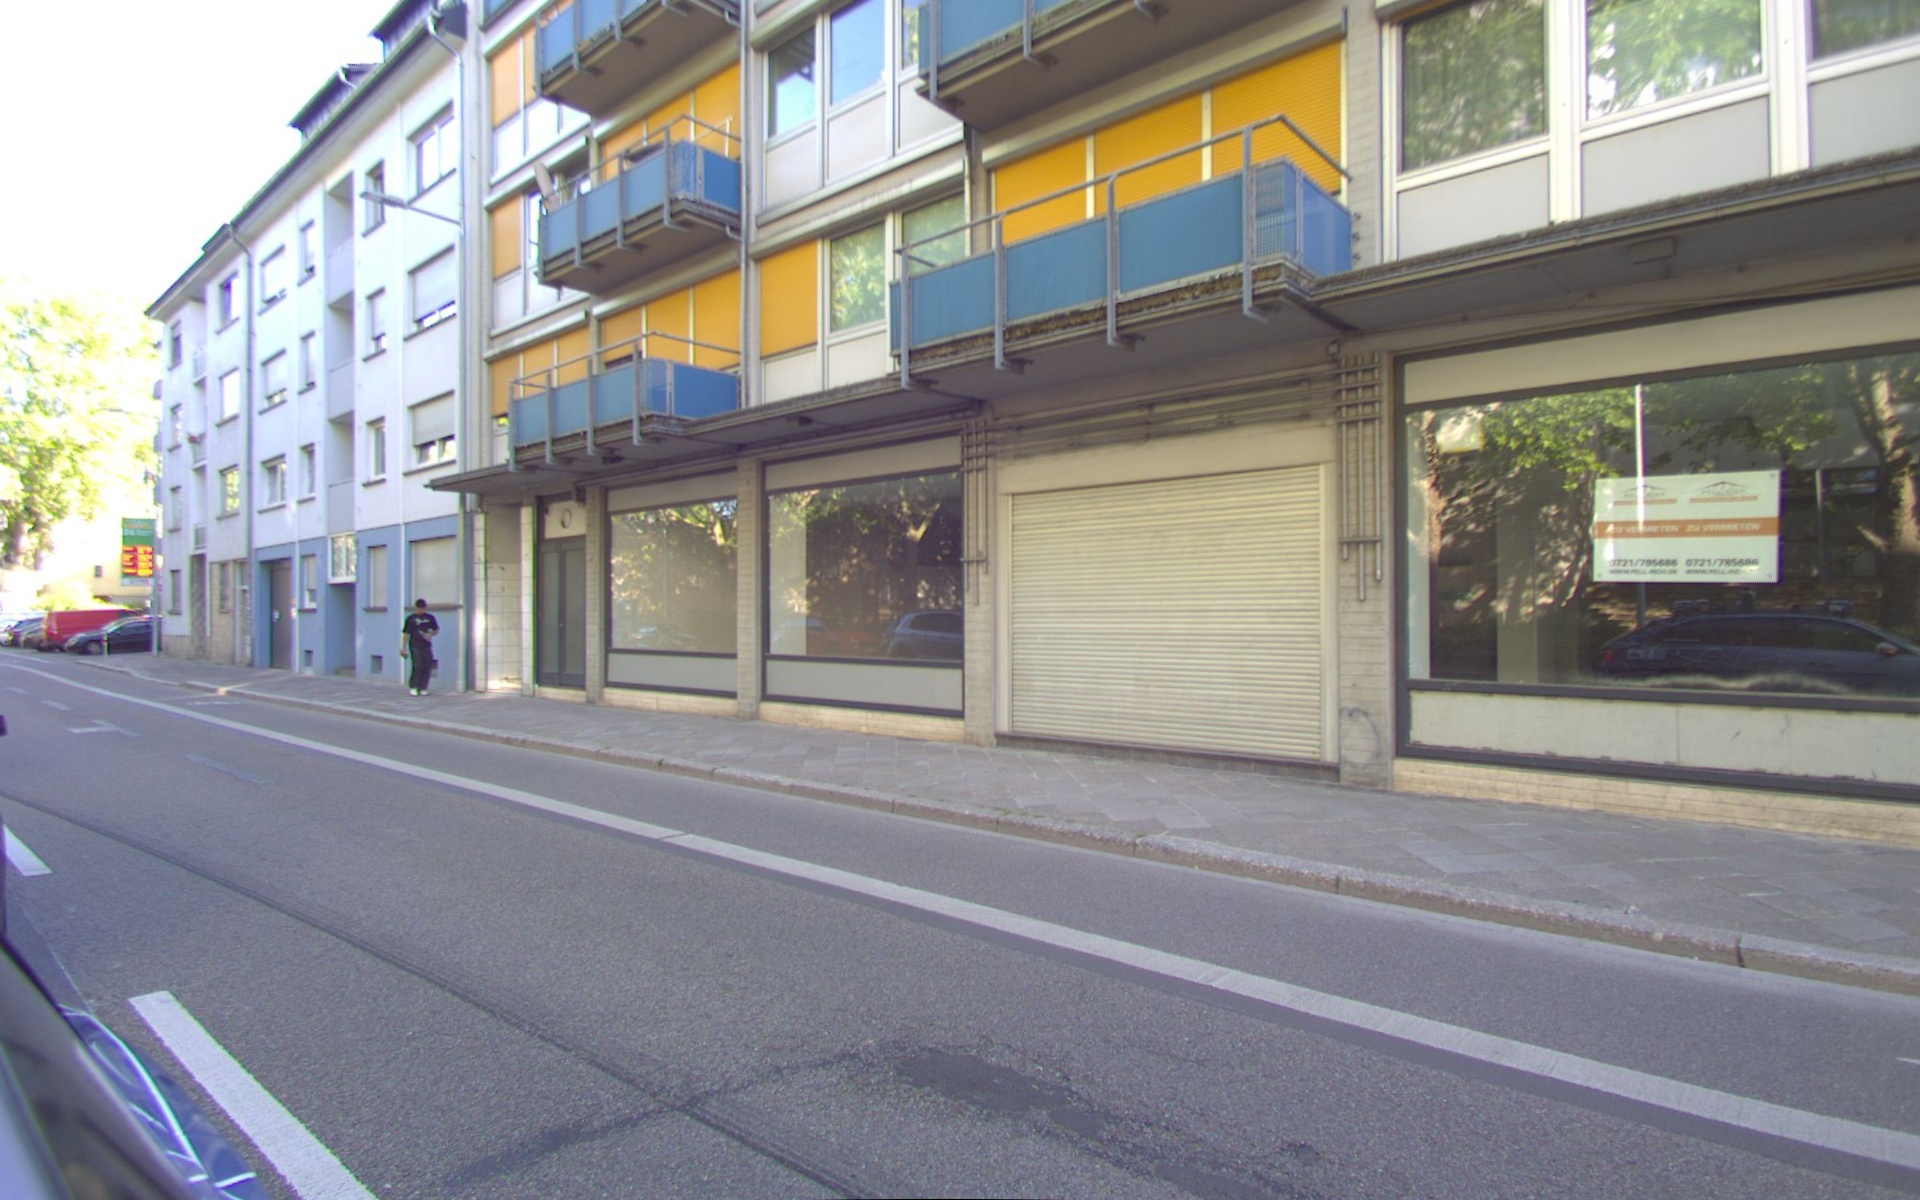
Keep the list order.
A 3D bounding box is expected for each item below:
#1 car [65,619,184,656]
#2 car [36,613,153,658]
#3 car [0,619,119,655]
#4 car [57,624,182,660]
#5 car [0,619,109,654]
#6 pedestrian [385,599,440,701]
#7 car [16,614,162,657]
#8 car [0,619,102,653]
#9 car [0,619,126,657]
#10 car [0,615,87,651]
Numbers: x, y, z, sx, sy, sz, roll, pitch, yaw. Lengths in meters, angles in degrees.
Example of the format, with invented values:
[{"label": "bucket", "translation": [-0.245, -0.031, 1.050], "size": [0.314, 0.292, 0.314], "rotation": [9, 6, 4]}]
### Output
[{"label": "car", "translation": [-37.880, 1.674, 45.944], "size": [1.742, 1.572, 3.946], "rotation": [-1, -1, 41]}, {"label": "car", "translation": [-40.593, 1.630, 47.518], "size": [1.866, 1.952, 3.946], "rotation": [-1, -1, 41]}, {"label": "car", "translation": [-52.240, 2.105, 58.719], "size": [2.159, 1.952, 4.990], "rotation": [-1, -1, 41]}, {"label": "car", "translation": [-36.555, 1.783, 44.079], "size": [1.742, 1.431, 3.946], "rotation": [-1, -1, 41]}, {"label": "car", "translation": [-54.126, 2.126, 60.356], "size": [2.082, 1.952, 4.928], "rotation": [-1, -1, 41]}, {"label": "pedestrian", "translation": [-9.974, 0.893, 18.430], "size": [0.793, 1.785, 0.654], "rotation": [-2, -1, 44]}, {"label": "car", "translation": [-42.694, 1.696, 49.715], "size": [2.256, 1.995, 5.156], "rotation": [-1, -1, 41]}, {"label": "car", "translation": [-55.974, 2.154, 61.987], "size": [2.314, 1.952, 4.978], "rotation": [-1, -1, 41]}, {"label": "car", "translation": [-50.301, 2.082, 56.831], "size": [2.186, 1.952, 5.077], "rotation": [-1, -1, 41]}, {"label": "car", "translation": [-59.348, 2.093, 64.713], "size": [2.186, 2.164, 5.077], "rotation": [-1, -1, 41]}]
